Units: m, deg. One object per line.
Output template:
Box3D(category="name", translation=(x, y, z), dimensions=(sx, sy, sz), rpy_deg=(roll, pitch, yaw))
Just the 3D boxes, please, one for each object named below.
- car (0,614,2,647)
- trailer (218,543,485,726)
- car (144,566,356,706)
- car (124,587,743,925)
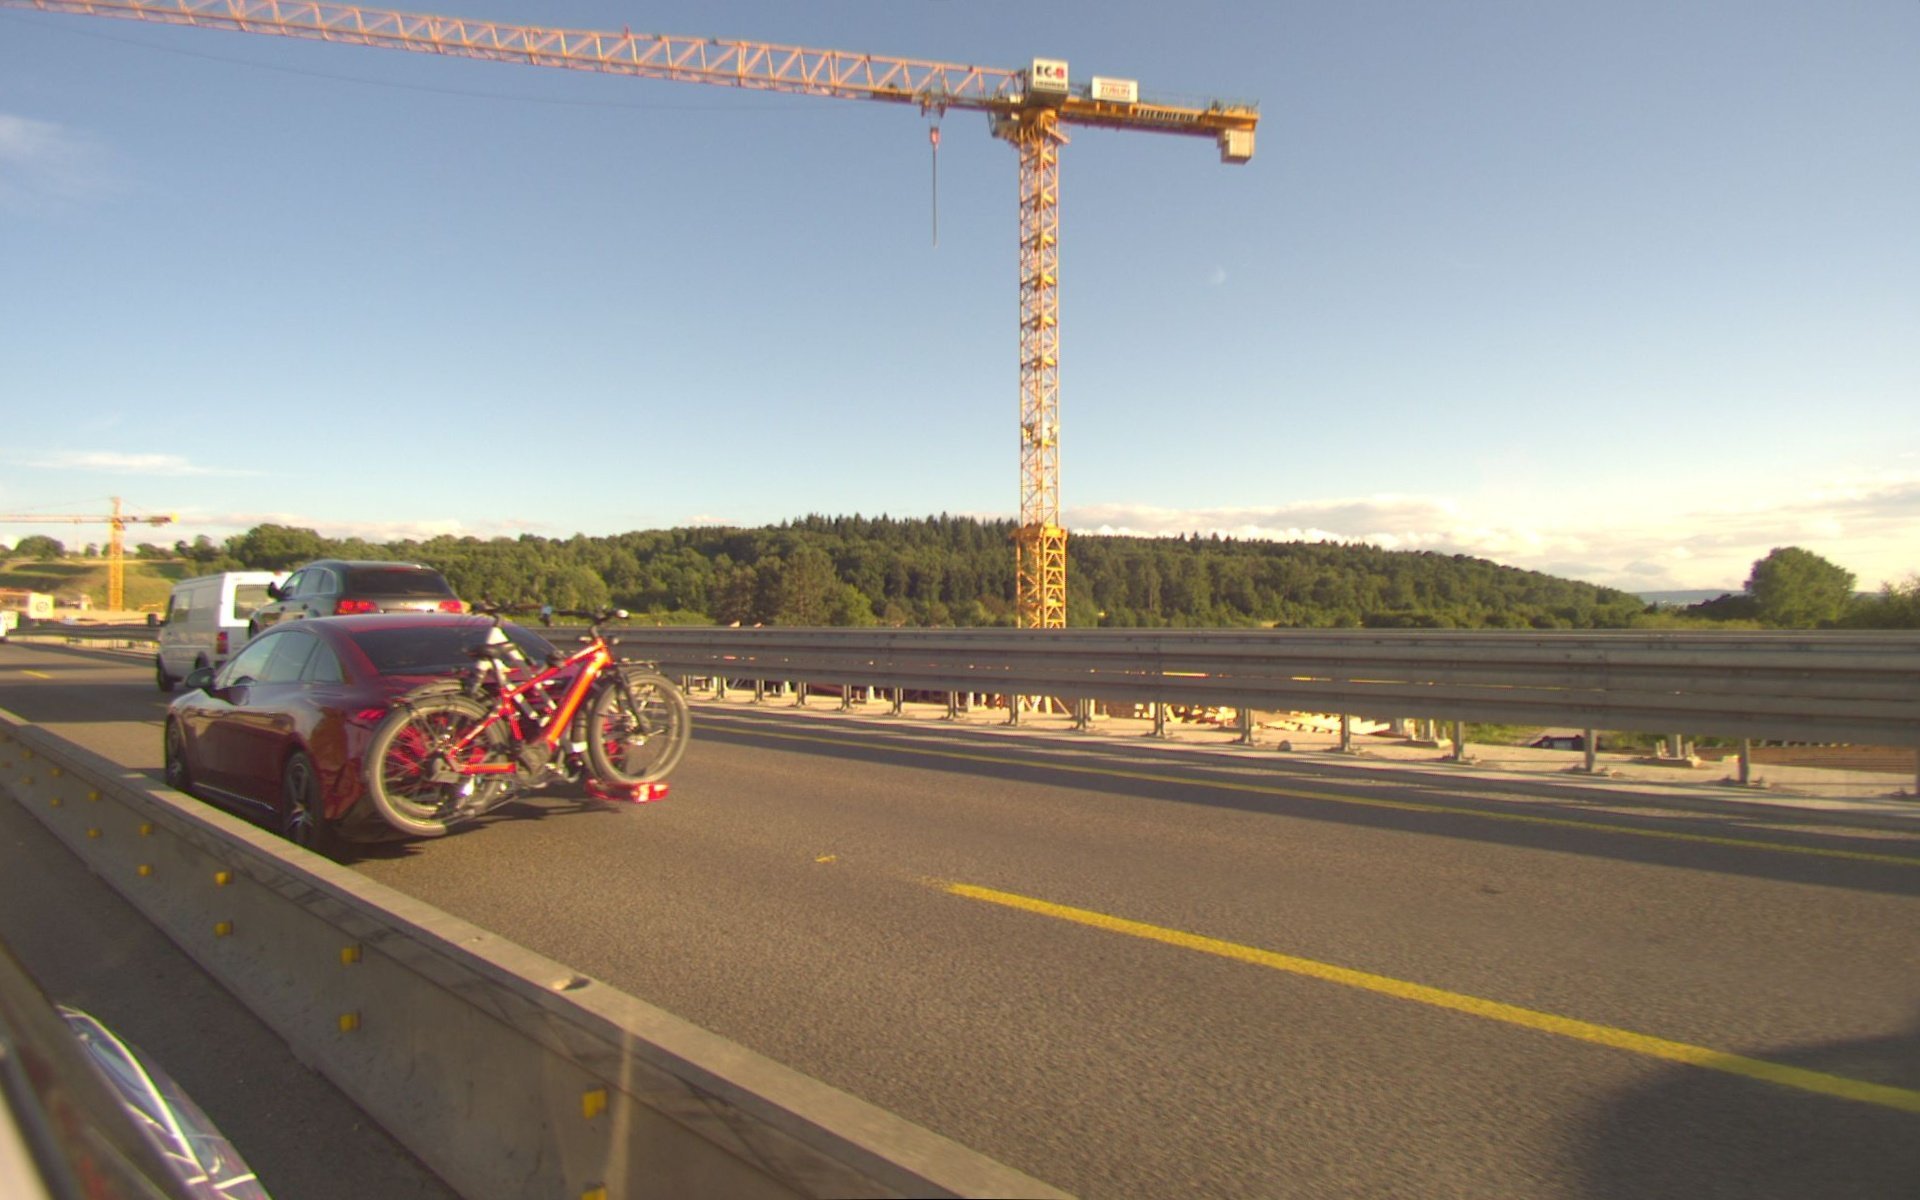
Box3D(category="car", translation=(-56.374, 1.799, 57.754), dimensions=(4.279, 1.870, 1.974), rpy_deg=(-1, 2, 40))
Box3D(category="trailer", translation=(-9.699, 0.499, 15.935), dimensions=(5.215, 2.439, 2.055), rpy_deg=(-2, 0, 41))
Box3D(category="car", translation=(-13.889, 0.643, 19.617), dimensions=(5.931, 2.341, 1.973), rpy_deg=(-1, -1, 41))
Box3D(category="car", translation=(-4.133, 0.759, 7.264), dimensions=(5.778, 1.541, 1.973), rpy_deg=(-1, -1, 41))
